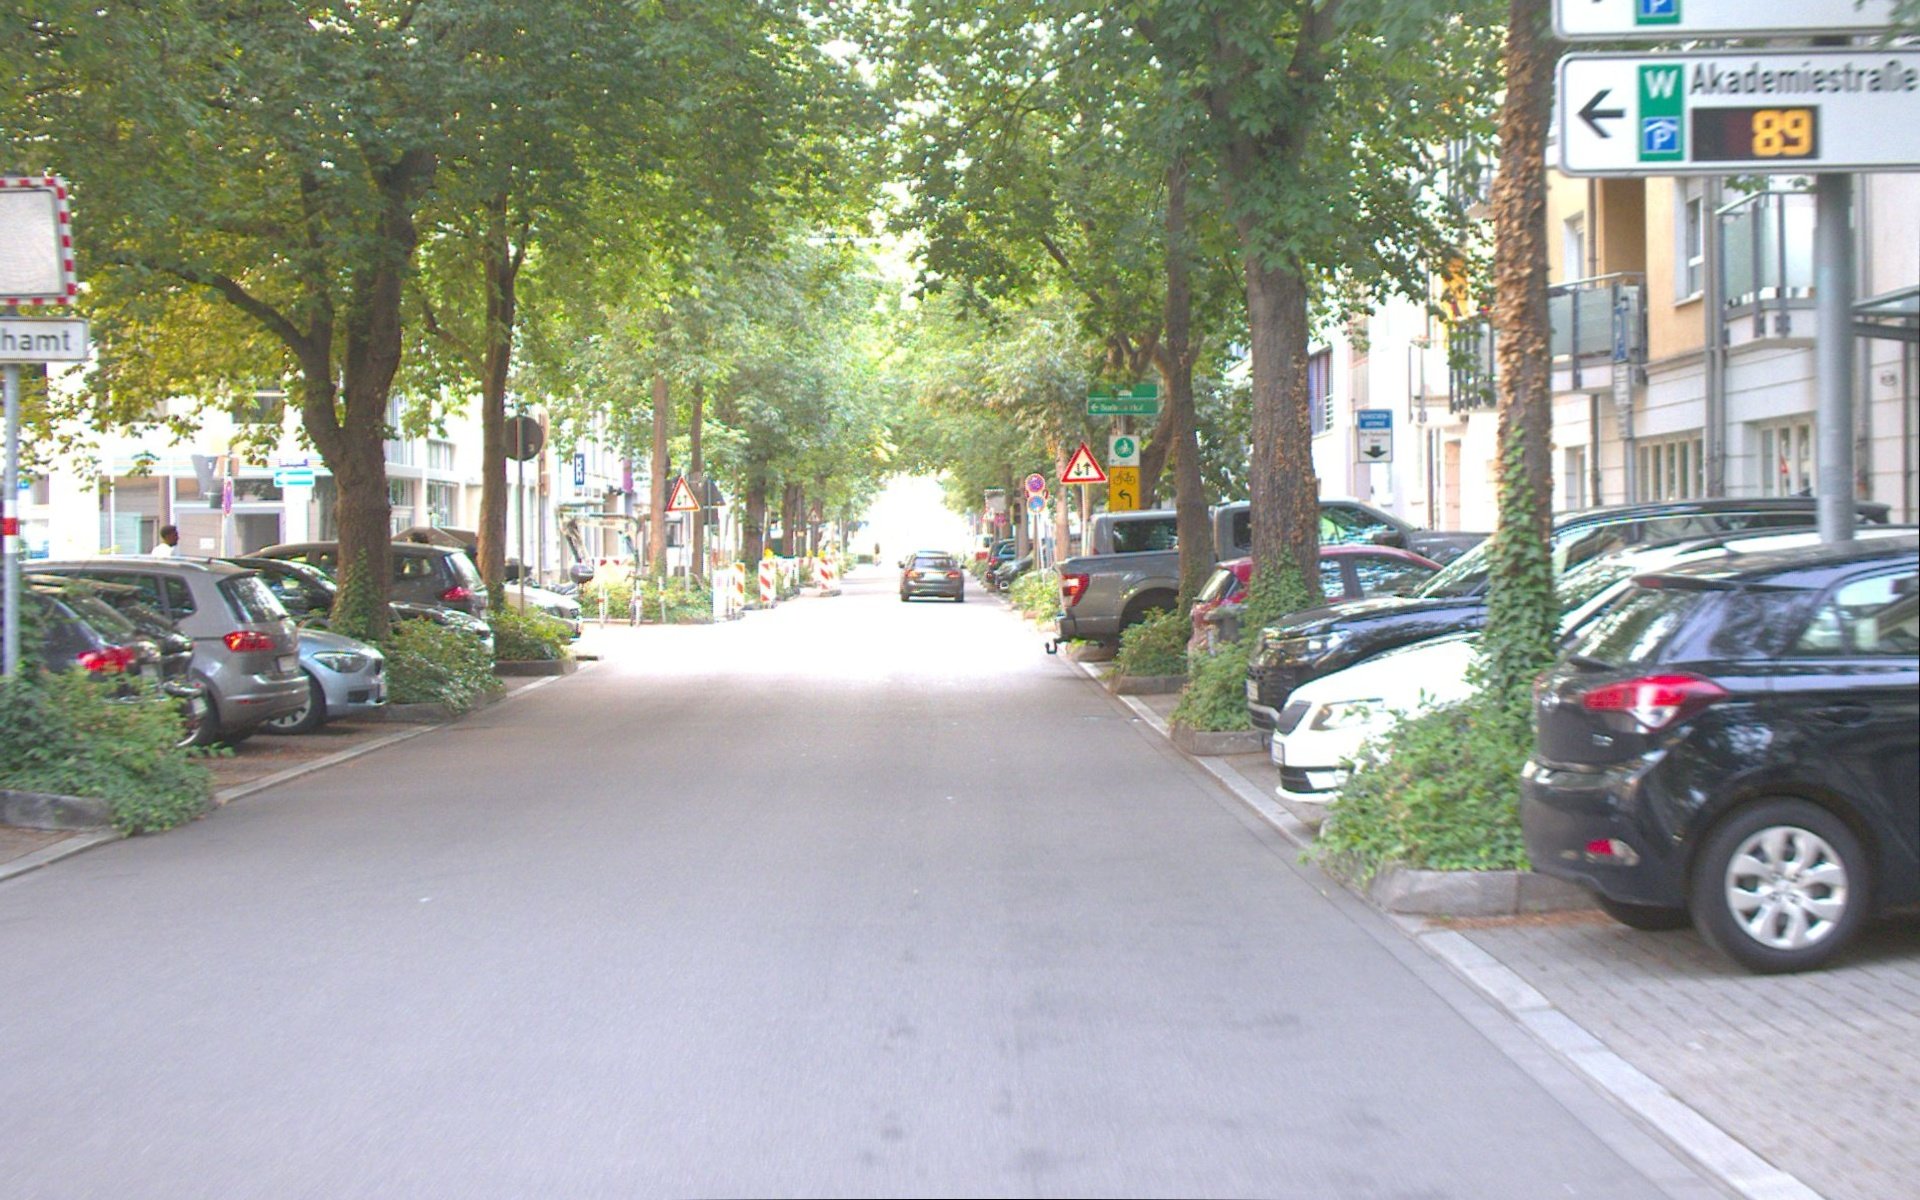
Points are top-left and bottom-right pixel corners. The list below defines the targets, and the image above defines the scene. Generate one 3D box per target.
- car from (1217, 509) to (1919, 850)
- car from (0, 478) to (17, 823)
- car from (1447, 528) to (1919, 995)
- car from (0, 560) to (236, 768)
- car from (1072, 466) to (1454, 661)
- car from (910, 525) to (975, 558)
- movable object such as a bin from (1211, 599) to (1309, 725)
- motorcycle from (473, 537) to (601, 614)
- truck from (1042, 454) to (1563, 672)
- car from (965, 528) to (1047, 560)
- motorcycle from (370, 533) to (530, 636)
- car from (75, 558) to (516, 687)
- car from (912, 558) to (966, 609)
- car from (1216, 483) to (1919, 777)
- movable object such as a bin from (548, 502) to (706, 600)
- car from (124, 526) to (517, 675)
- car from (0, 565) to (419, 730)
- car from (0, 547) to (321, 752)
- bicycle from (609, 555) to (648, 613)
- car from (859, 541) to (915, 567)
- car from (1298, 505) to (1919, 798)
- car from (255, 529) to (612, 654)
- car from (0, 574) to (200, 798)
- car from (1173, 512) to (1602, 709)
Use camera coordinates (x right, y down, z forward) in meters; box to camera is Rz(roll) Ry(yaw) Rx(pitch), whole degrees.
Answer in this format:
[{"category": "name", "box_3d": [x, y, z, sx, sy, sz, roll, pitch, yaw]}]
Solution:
[{"category": "car", "box_3d": [3.803, 0.372, 18.679, 4.572, 1.546, 1.773, -3, 1, -1]}, {"category": "car", "box_3d": [-7.445, 0.289, 18.096, 4.418, 1.886, 2.000, 0, 1, -1]}, {"category": "car", "box_3d": [4.024, 0.457, 12.756, 3.986, 1.469, 1.914, -4, 1, -4]}, {"category": "car", "box_3d": [-7.325, 0.471, 25.938, 3.404, 1.501, 1.665, -1, 1, -2]}, {"category": "car", "box_3d": [3.881, -0.478, 44.657, 4.620, 2.125, 2.037, -4, 1, 0]}, {"category": "car", "box_3d": [-1.080, -3.708, 216.982, 3.987, 2.007, 2.000, -1, 1, 2]}, {"category": "movable object such as a bin", "box_3d": [2.579, 0.530, 29.639, 0.774, 1.064, 0.589, -1, 1, -1]}, {"category": "motorcycle", "box_3d": [-8.108, -0.475, 66.004, 2.372, 1.436, 0.801, -1, 1, -40]}, {"category": "truck", "box_3d": [4.110, -0.459, 42.086, 6.004, 2.125, 2.261, -5, 1, 0]}, {"category": "car", "box_3d": [2.316, -2.808, 172.853, 3.986, 1.592, 2.000, -1, 1, -3]}, {"category": "motorcycle", "box_3d": [-7.435, -0.229, 50.145, 2.217, 1.488, 0.691, 0, 1, 1]}, {"category": "car", "box_3d": [-7.562, 0.238, 39.516, 4.715, 1.419, 2.072, 0, 1, -2]}, {"category": "car", "box_3d": [-0.605, -0.481, 99.173, 1.500, 1.411, 3.714, 0, 1, 0]}, {"category": "car", "box_3d": [4.176, 0.182, 23.947, 4.382, 1.698, 1.896, -4, 1, -8]}, {"category": "movable object such as a bin", "box_3d": [-8.147, -1.206, 84.387, 3.665, 2.325, 2.584, -1, 1, -2]}, {"category": "car", "box_3d": [-7.673, -0.011, 41.576, 4.395, 1.679, 2.064, 1, 1, -2]}, {"category": "car", "box_3d": [-6.963, 0.404, 30.468, 4.099, 1.375, 1.747, 1, 1, -2]}, {"category": "car", "box_3d": [-7.082, 0.383, 28.141, 3.404, 1.604, 1.761, -1, 1, -2]}, {"category": "bicycle", "box_3d": [-6.631, -0.327, 68.848, 0.601, 1.114, 1.800, -1, 2, 0]}, {"category": "car", "box_3d": [-5.480, -3.442, 258.370, 3.986, 1.908, 1.778, -1, 1, -8]}, {"category": "car", "box_3d": [4.203, 0.288, 21.357, 3.987, 1.520, 1.727, -4, 1, 2]}, {"category": "car", "box_3d": [-7.101, -0.120, 46.708, 4.498, 1.576, 2.055, 1, 0, 0]}, {"category": "car", "box_3d": [-6.989, 0.566, 23.167, 3.404, 1.437, 1.594, -1, 1, -2]}, {"category": "car", "box_3d": [3.977, 0.098, 32.395, 3.664, 1.543, 1.781, -4, 0, -2]}]
